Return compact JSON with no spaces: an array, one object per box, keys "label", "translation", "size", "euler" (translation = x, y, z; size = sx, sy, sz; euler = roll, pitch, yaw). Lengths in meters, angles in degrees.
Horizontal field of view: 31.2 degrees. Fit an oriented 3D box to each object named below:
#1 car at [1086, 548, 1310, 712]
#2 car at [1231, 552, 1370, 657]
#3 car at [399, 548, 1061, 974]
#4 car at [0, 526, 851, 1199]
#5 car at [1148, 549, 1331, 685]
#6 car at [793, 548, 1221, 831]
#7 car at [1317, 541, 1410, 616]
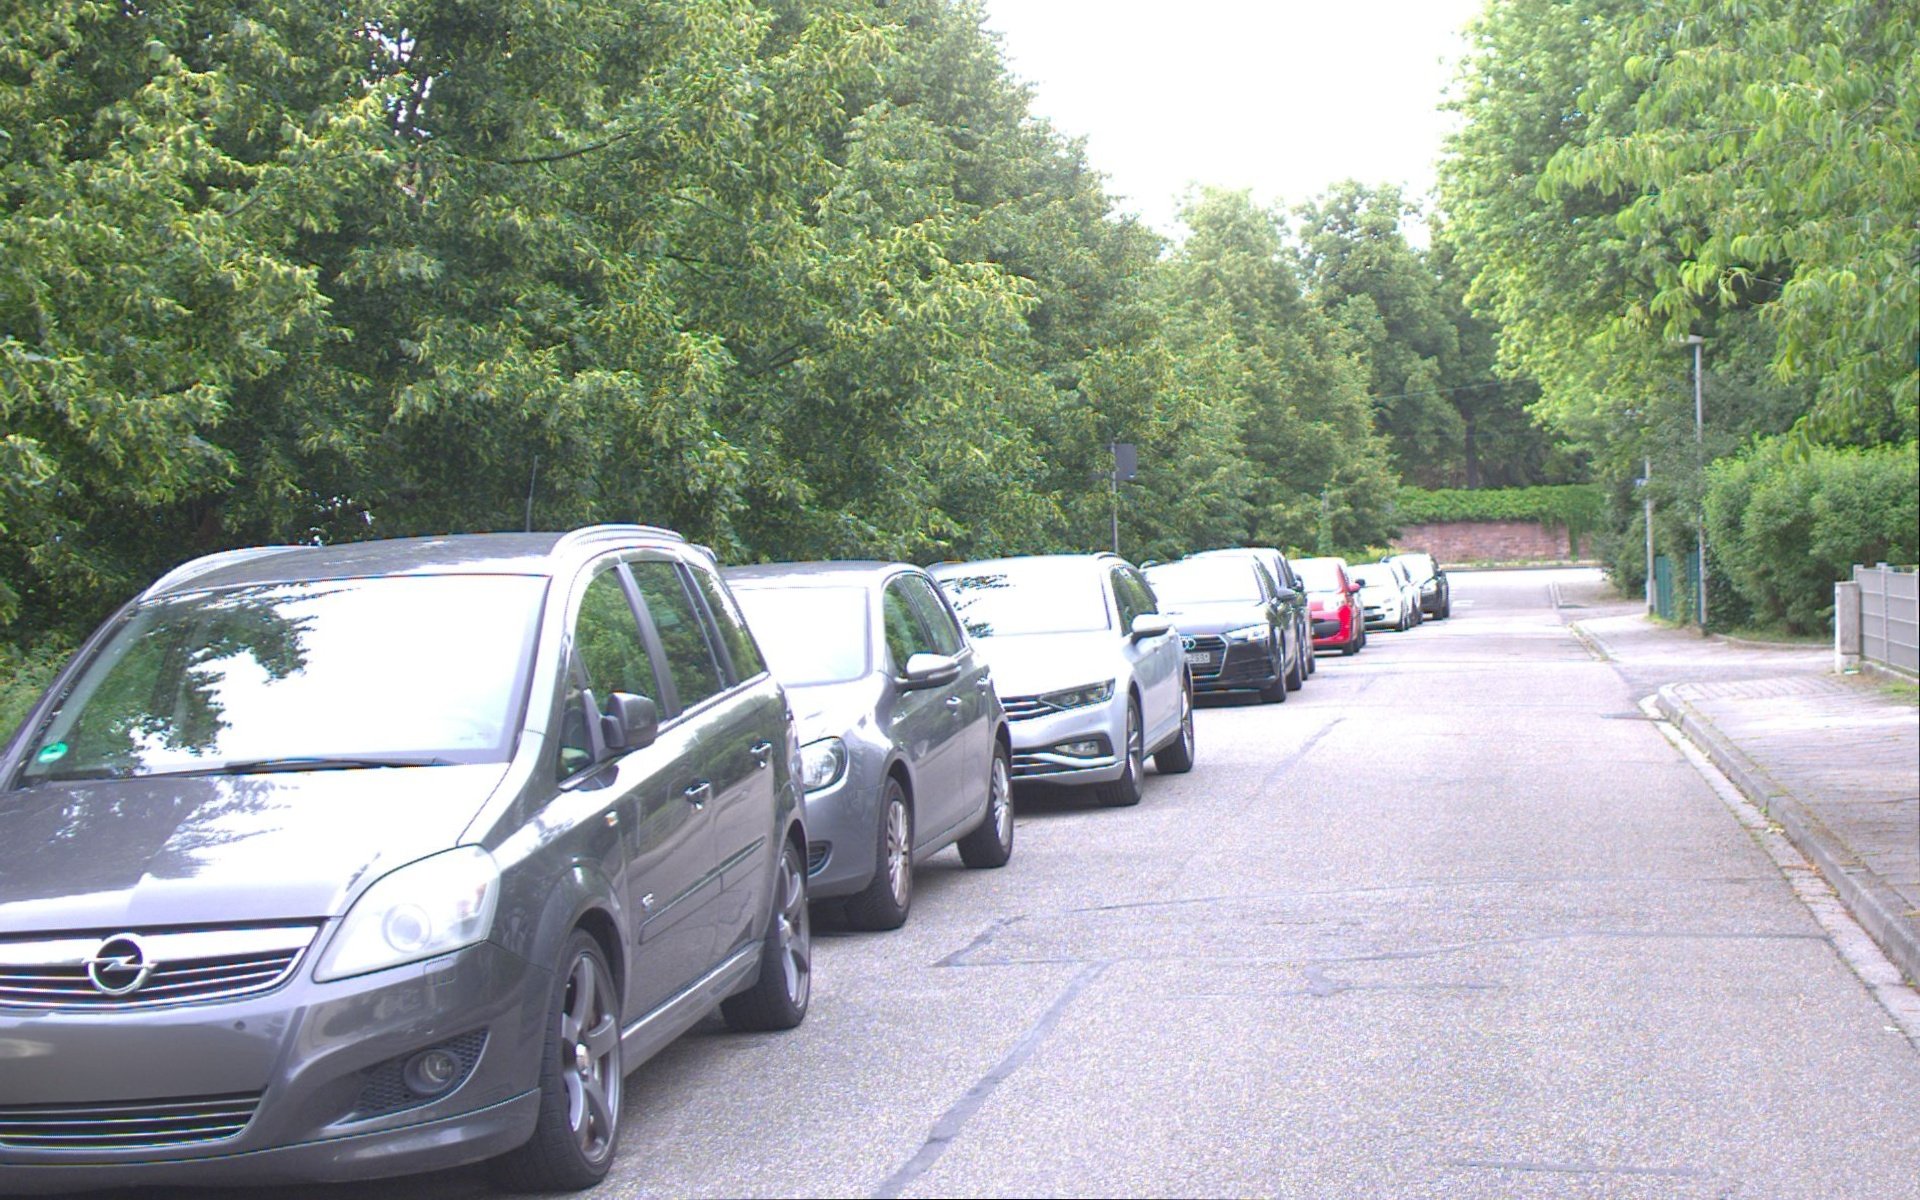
[{"label":"car","translation":[2.425,0.255,34.186],"size":[1.752,1.420,3.999],"euler":[-3,1,10]},{"label":"car","translation":[5.235,0.039,52.518],"size":[1.752,1.420,3.999],"euler":[-3,1,10]},{"label":"car","translation":[-0.816,0.581,14.989],"size":[1.758,1.473,4.304],"euler":[-4,1,11]},{"label":"car","translation":[-1.611,0.648,9.433],"size":[1.758,1.588,4.551],"euler":[-4,1,8]},{"label":"car","translation":[3.384,0.162,41.054],"size":[1.752,1.420,3.999],"euler":[-3,1,10]},{"label":"car","translation":[0.412,0.464,21.008],"size":[1.777,1.423,4.476],"euler":[-3,1,11]},{"label":"car","translation":[8.803,-0.482,74.827],"size":[1.752,1.514,3.999],"euler":[-2,1,10]}]
